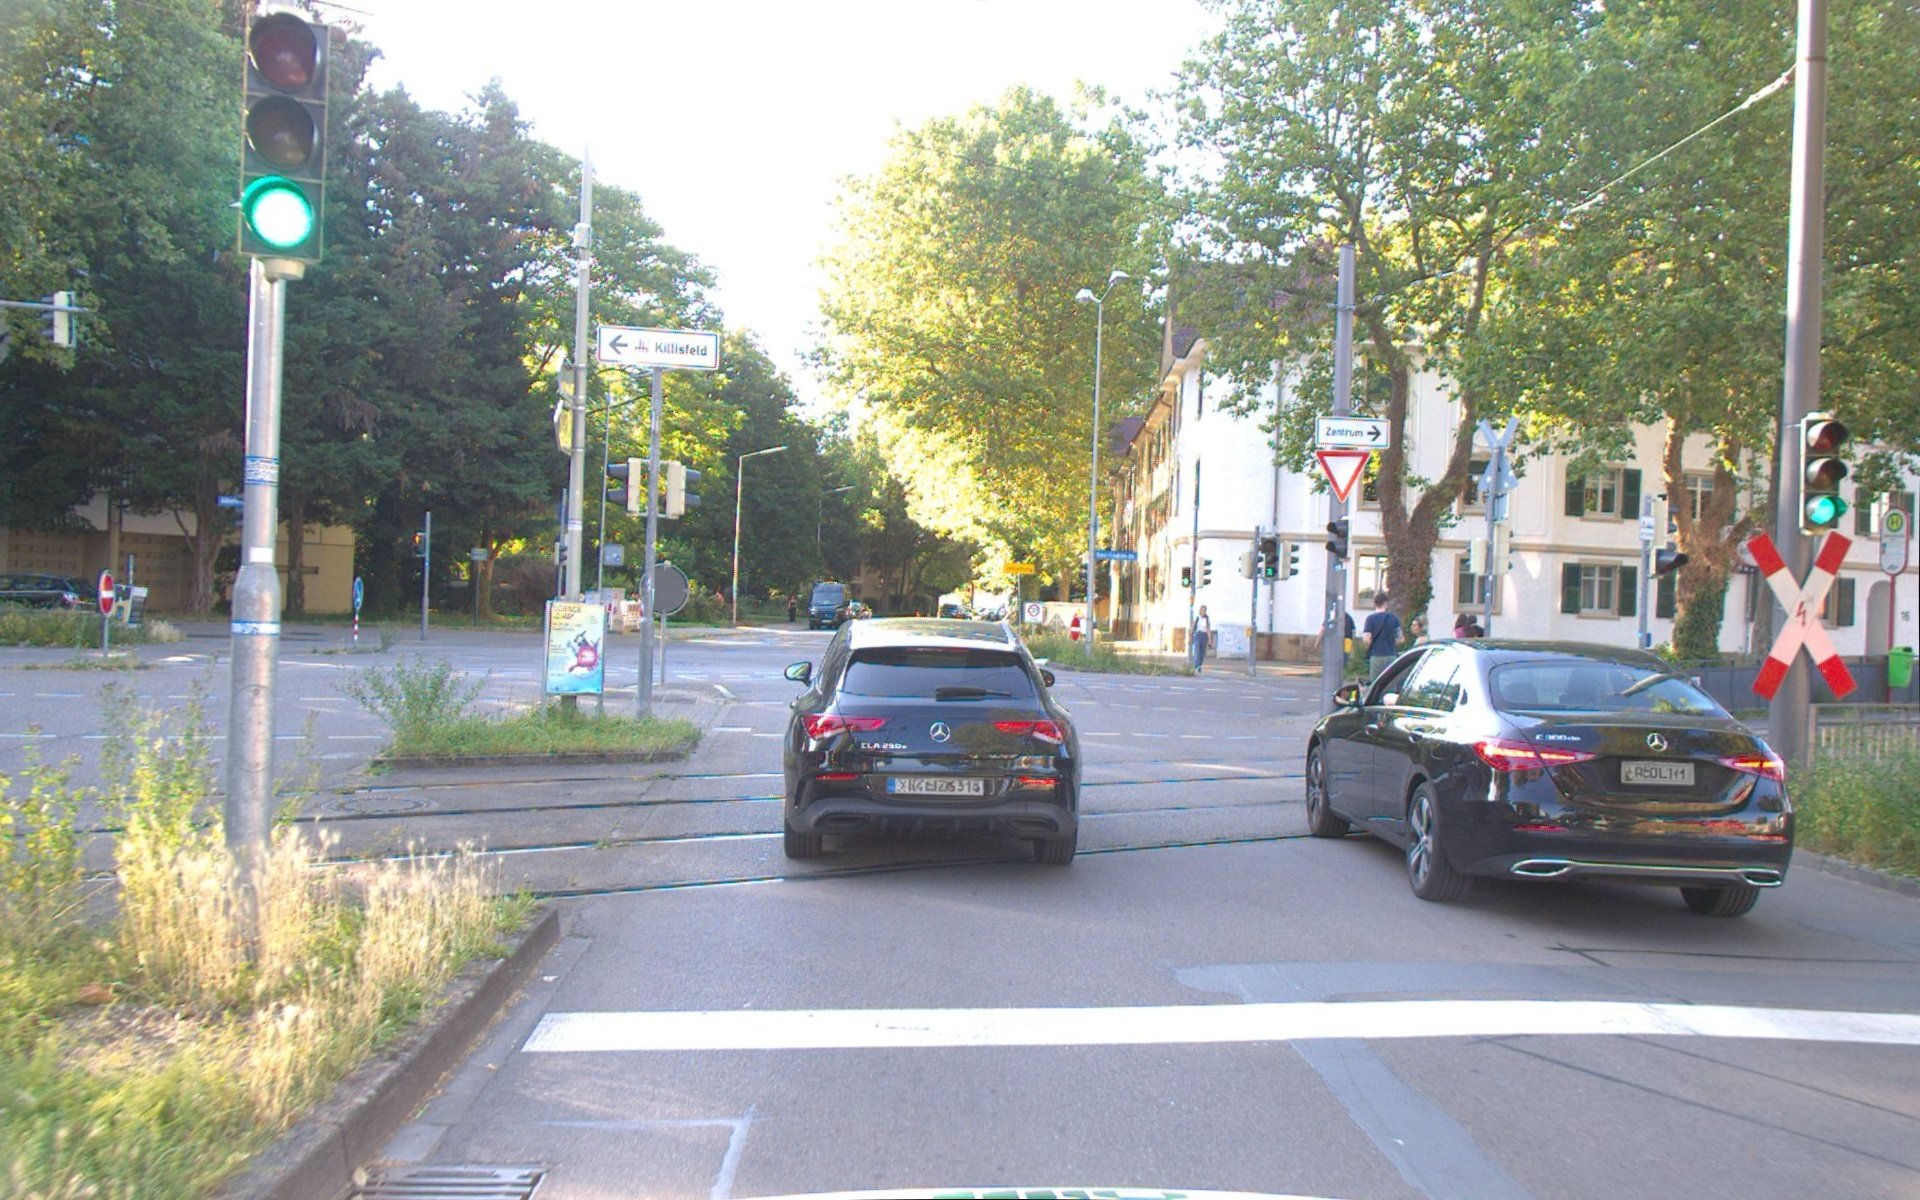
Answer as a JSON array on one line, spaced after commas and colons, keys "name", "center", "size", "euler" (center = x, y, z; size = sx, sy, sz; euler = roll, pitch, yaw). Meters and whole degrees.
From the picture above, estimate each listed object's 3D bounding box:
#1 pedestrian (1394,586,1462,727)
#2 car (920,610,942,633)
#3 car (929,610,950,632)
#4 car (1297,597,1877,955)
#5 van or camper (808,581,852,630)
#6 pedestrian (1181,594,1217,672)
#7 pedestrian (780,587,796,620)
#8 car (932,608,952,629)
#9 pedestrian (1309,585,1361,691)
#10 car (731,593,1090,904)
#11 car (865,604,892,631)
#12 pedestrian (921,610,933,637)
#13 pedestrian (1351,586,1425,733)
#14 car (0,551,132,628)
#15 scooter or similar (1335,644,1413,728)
[{"name": "pedestrian", "center": [6.683, 0.803, 23.623], "size": [0.669, 1.951, 0.707], "euler": [3, -1, -4]}, {"name": "car", "center": [-2.406, 1.796, 138.276], "size": [1.698, 1.796, 4.018], "euler": [3, -1, 0]}, {"name": "car", "center": [-1.764, 1.840, 143.240], "size": [1.698, 1.796, 4.018], "euler": [3, -1, 0]}, {"name": "car", "center": [3.460, 0.846, 10.147], "size": [1.851, 1.516, 4.382], "euler": [3, 2, 0]}, {"name": "van or camper", "center": [-7.274, 0.310, 92.618], "size": [1.953, 2.586, 4.650], "euler": [3, -1, 0]}, {"name": "pedestrian", "center": [6.169, 0.853, 42.767], "size": [0.691, 1.951, 0.838], "euler": [3, -1, -3]}, {"name": "pedestrian", "center": [-10.306, 0.202, 99.213], "size": [0.690, 1.951, 0.839], "euler": [2, -1, 6]}, {"name": "car", "center": [-1.605, 1.720, 151.327], "size": [1.698, 1.796, 4.018], "euler": [3, -1, 0]}, {"name": "pedestrian", "center": [7.121, 0.715, 31.425], "size": [0.691, 1.951, 0.838], "euler": [3, -1, -3]}, {"name": "car", "center": [-0.216, 0.784, 10.832], "size": [1.850, 1.475, 4.001], "euler": [3, 2, 1]}, {"name": "car", "center": [-5.840, 1.285, 119.269], "size": [1.698, 1.796, 3.970], "euler": [3, -1, 0]}, {"name": "pedestrian", "center": [-2.459, 1.733, 122.881], "size": [0.692, 1.951, 0.837], "euler": [3, -1, -10]}, {"name": "pedestrian", "center": [5.843, 0.800, 22.589], "size": [0.692, 1.951, 0.683], "euler": [3, -1, -10]}, {"name": "car", "center": [-23.561, -0.285, 42.090], "size": [3.902, 1.805, 2.001], "euler": [3, -1, 7]}, {"name": "scooter or similar", "center": [5.851, 1.210, 23.394], "size": [0.812, 1.124, 0.808], "euler": [3, -1, -5]}]
